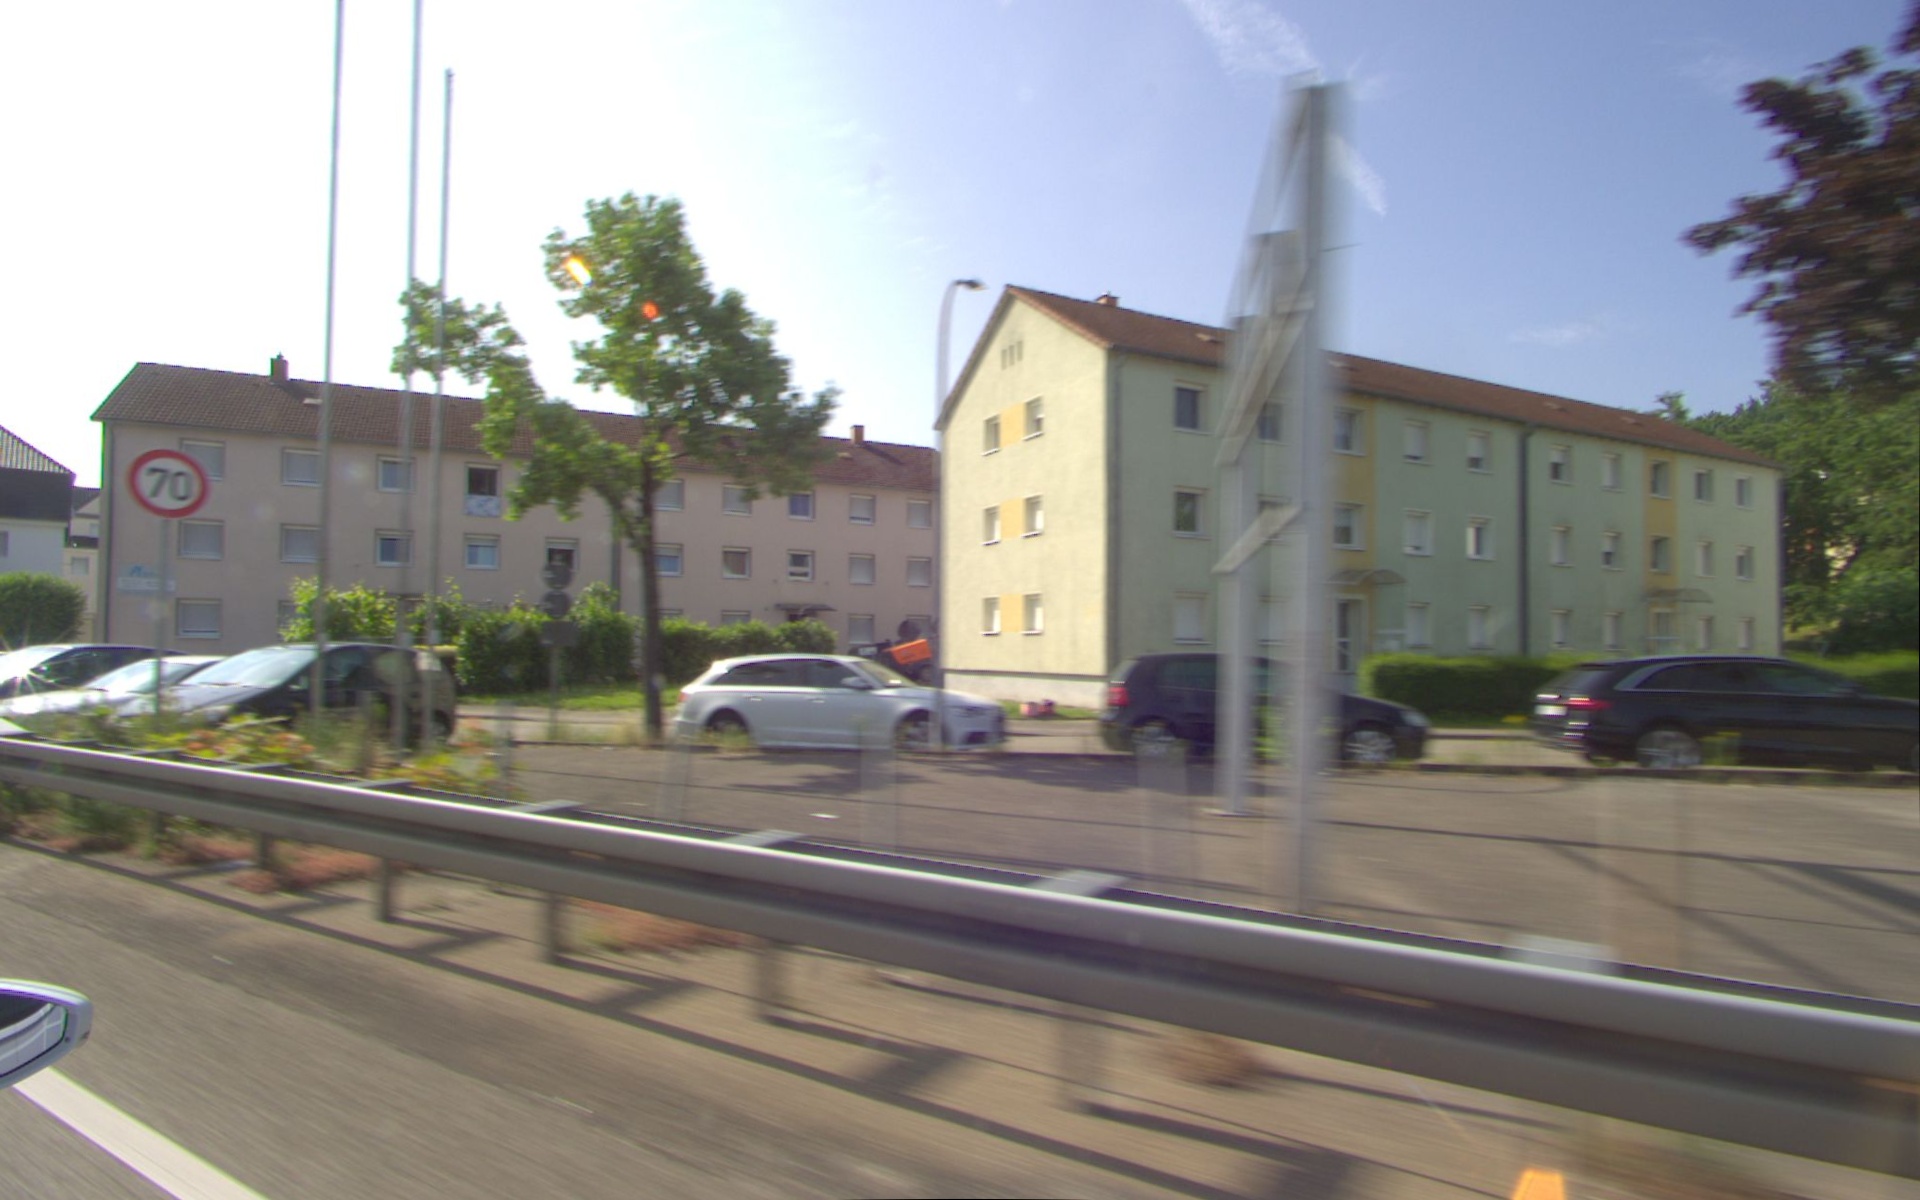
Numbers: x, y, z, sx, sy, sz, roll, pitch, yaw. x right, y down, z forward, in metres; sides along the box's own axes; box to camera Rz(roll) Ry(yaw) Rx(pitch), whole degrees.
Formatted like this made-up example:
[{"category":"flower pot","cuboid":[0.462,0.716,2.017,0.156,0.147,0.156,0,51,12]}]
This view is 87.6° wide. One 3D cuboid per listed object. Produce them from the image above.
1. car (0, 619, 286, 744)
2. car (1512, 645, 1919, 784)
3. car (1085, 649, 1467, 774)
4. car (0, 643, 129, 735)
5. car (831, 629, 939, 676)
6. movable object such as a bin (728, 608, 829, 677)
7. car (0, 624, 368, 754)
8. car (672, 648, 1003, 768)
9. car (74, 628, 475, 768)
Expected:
[{"category":"car","cuboid":[-12.649,1.221,14.685,1.884,1.590,4.246,-1,-6,19]},{"category":"car","cuboid":[8.927,1.298,12.094,3.593,1.423,1.709,1,-1,11]},{"category":"car","cuboid":[3.875,1.355,12.881,4.399,1.423,1.709,-1,-1,11]},{"category":"car","cuboid":[-15.216,1.365,15.497,1.522,1.392,3.272,-1,-4,19]},{"category":"car","cuboid":[-2.981,2.100,39.893,3.935,1.759,1.813,1,-5,-23]},{"category":"movable object such as a bin","cuboid":[-6.659,1.584,36.674,3.471,2.385,1.585,1,-5,-17]},{"category":"car","cuboid":[-10.450,1.207,13.481,1.734,1.466,3.997,-1,-6,21]},{"category":"car","cuboid":[-1.709,1.456,14.325,4.358,1.438,1.787,0,-1,16]},{"category":"car","cuboid":[-8.330,1.094,12.678,1.697,1.471,4.067,-1,-2,15]}]
